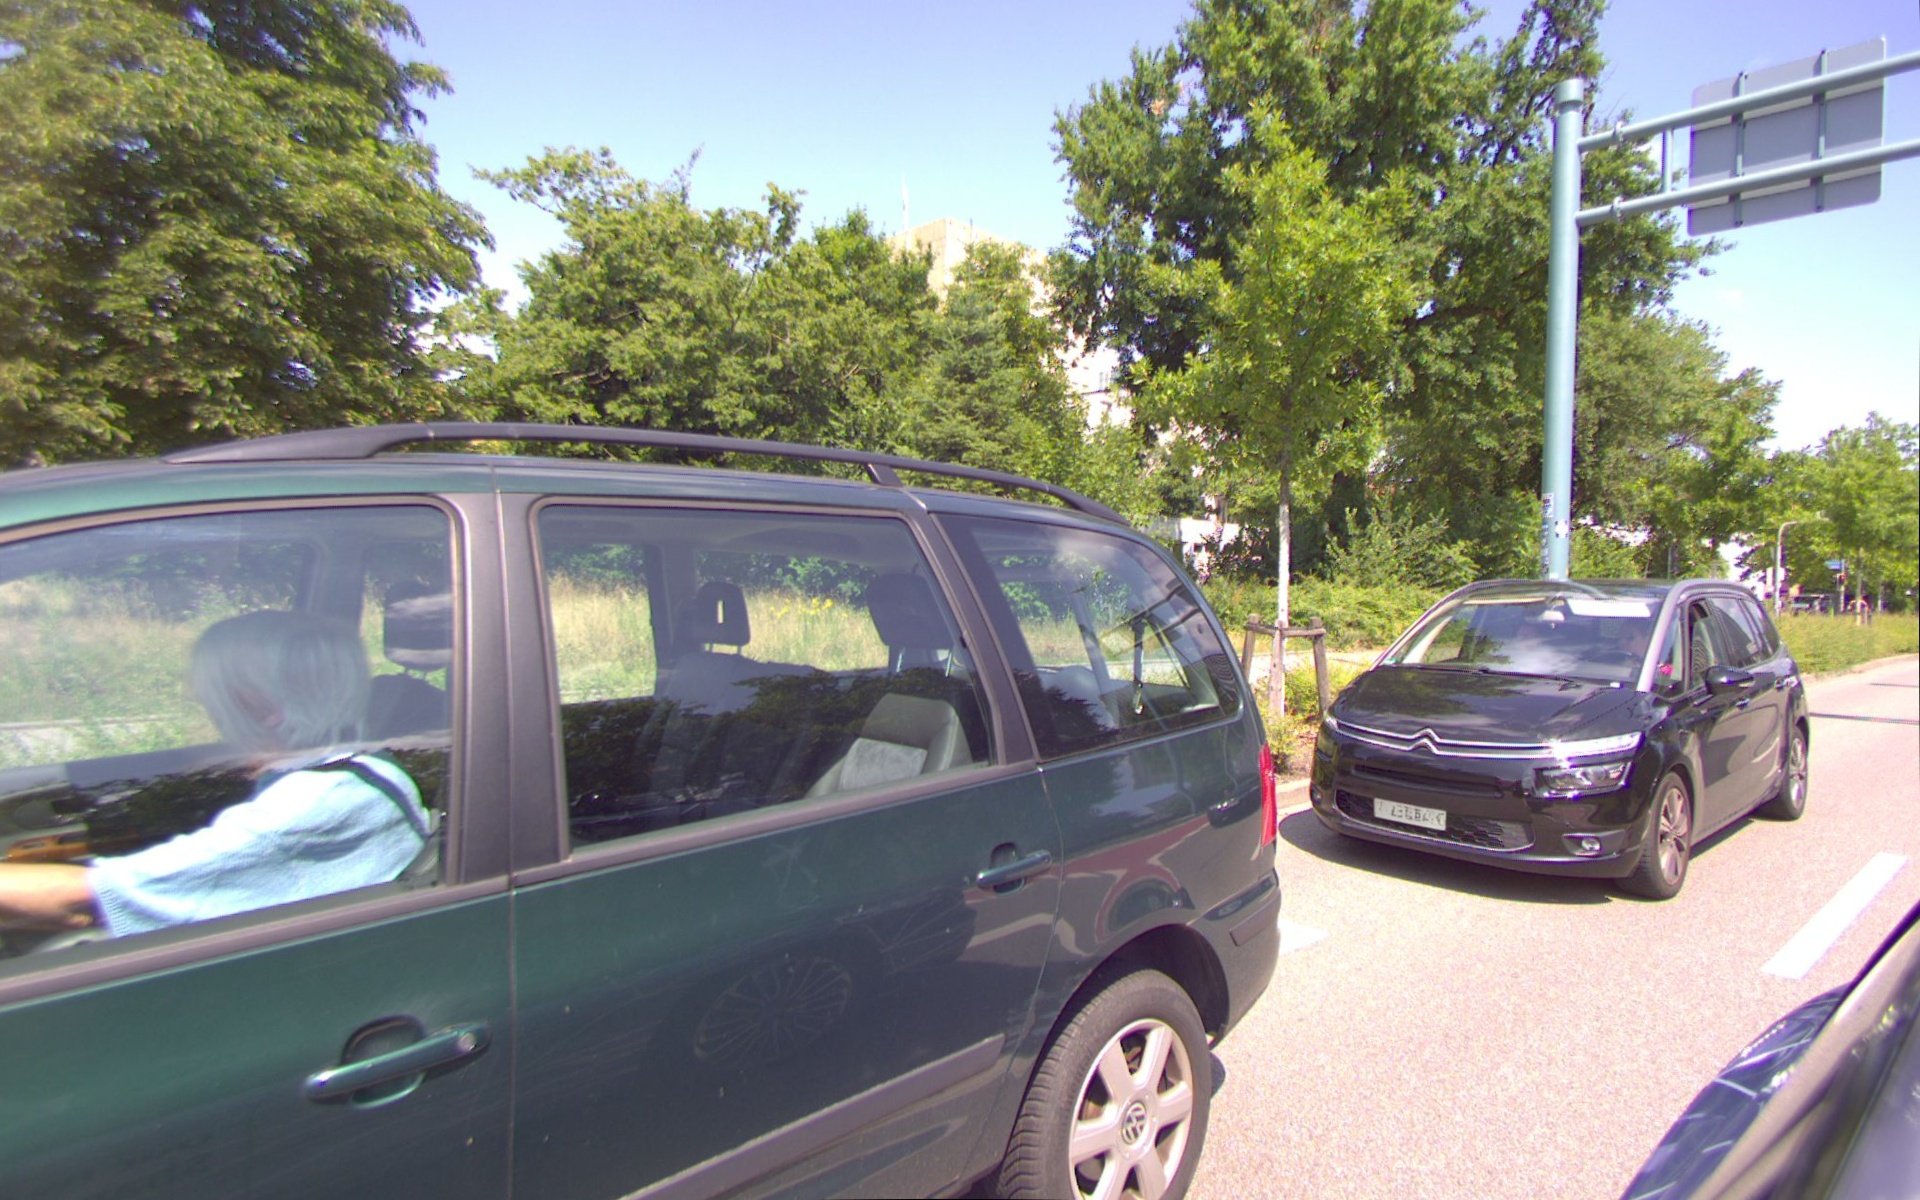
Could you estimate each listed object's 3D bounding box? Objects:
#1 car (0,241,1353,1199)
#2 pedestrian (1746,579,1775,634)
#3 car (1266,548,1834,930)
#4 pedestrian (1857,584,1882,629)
[{"bbox_3d":[-1.154,0.526,1.974,4.315,1.737,1.804,0,-1,-41],"label":"car"},{"bbox_3d":[30.697,0.244,38.813,0.842,2.063,0.889,2,0,38],"label":"pedestrian"},{"bbox_3d":[3.974,0.609,6.462,4.400,1.628,1.815,1,-1,-41],"label":"car"},{"bbox_3d":[36.426,0.252,40.549,0.636,1.787,0.874,2,1,37],"label":"pedestrian"}]
